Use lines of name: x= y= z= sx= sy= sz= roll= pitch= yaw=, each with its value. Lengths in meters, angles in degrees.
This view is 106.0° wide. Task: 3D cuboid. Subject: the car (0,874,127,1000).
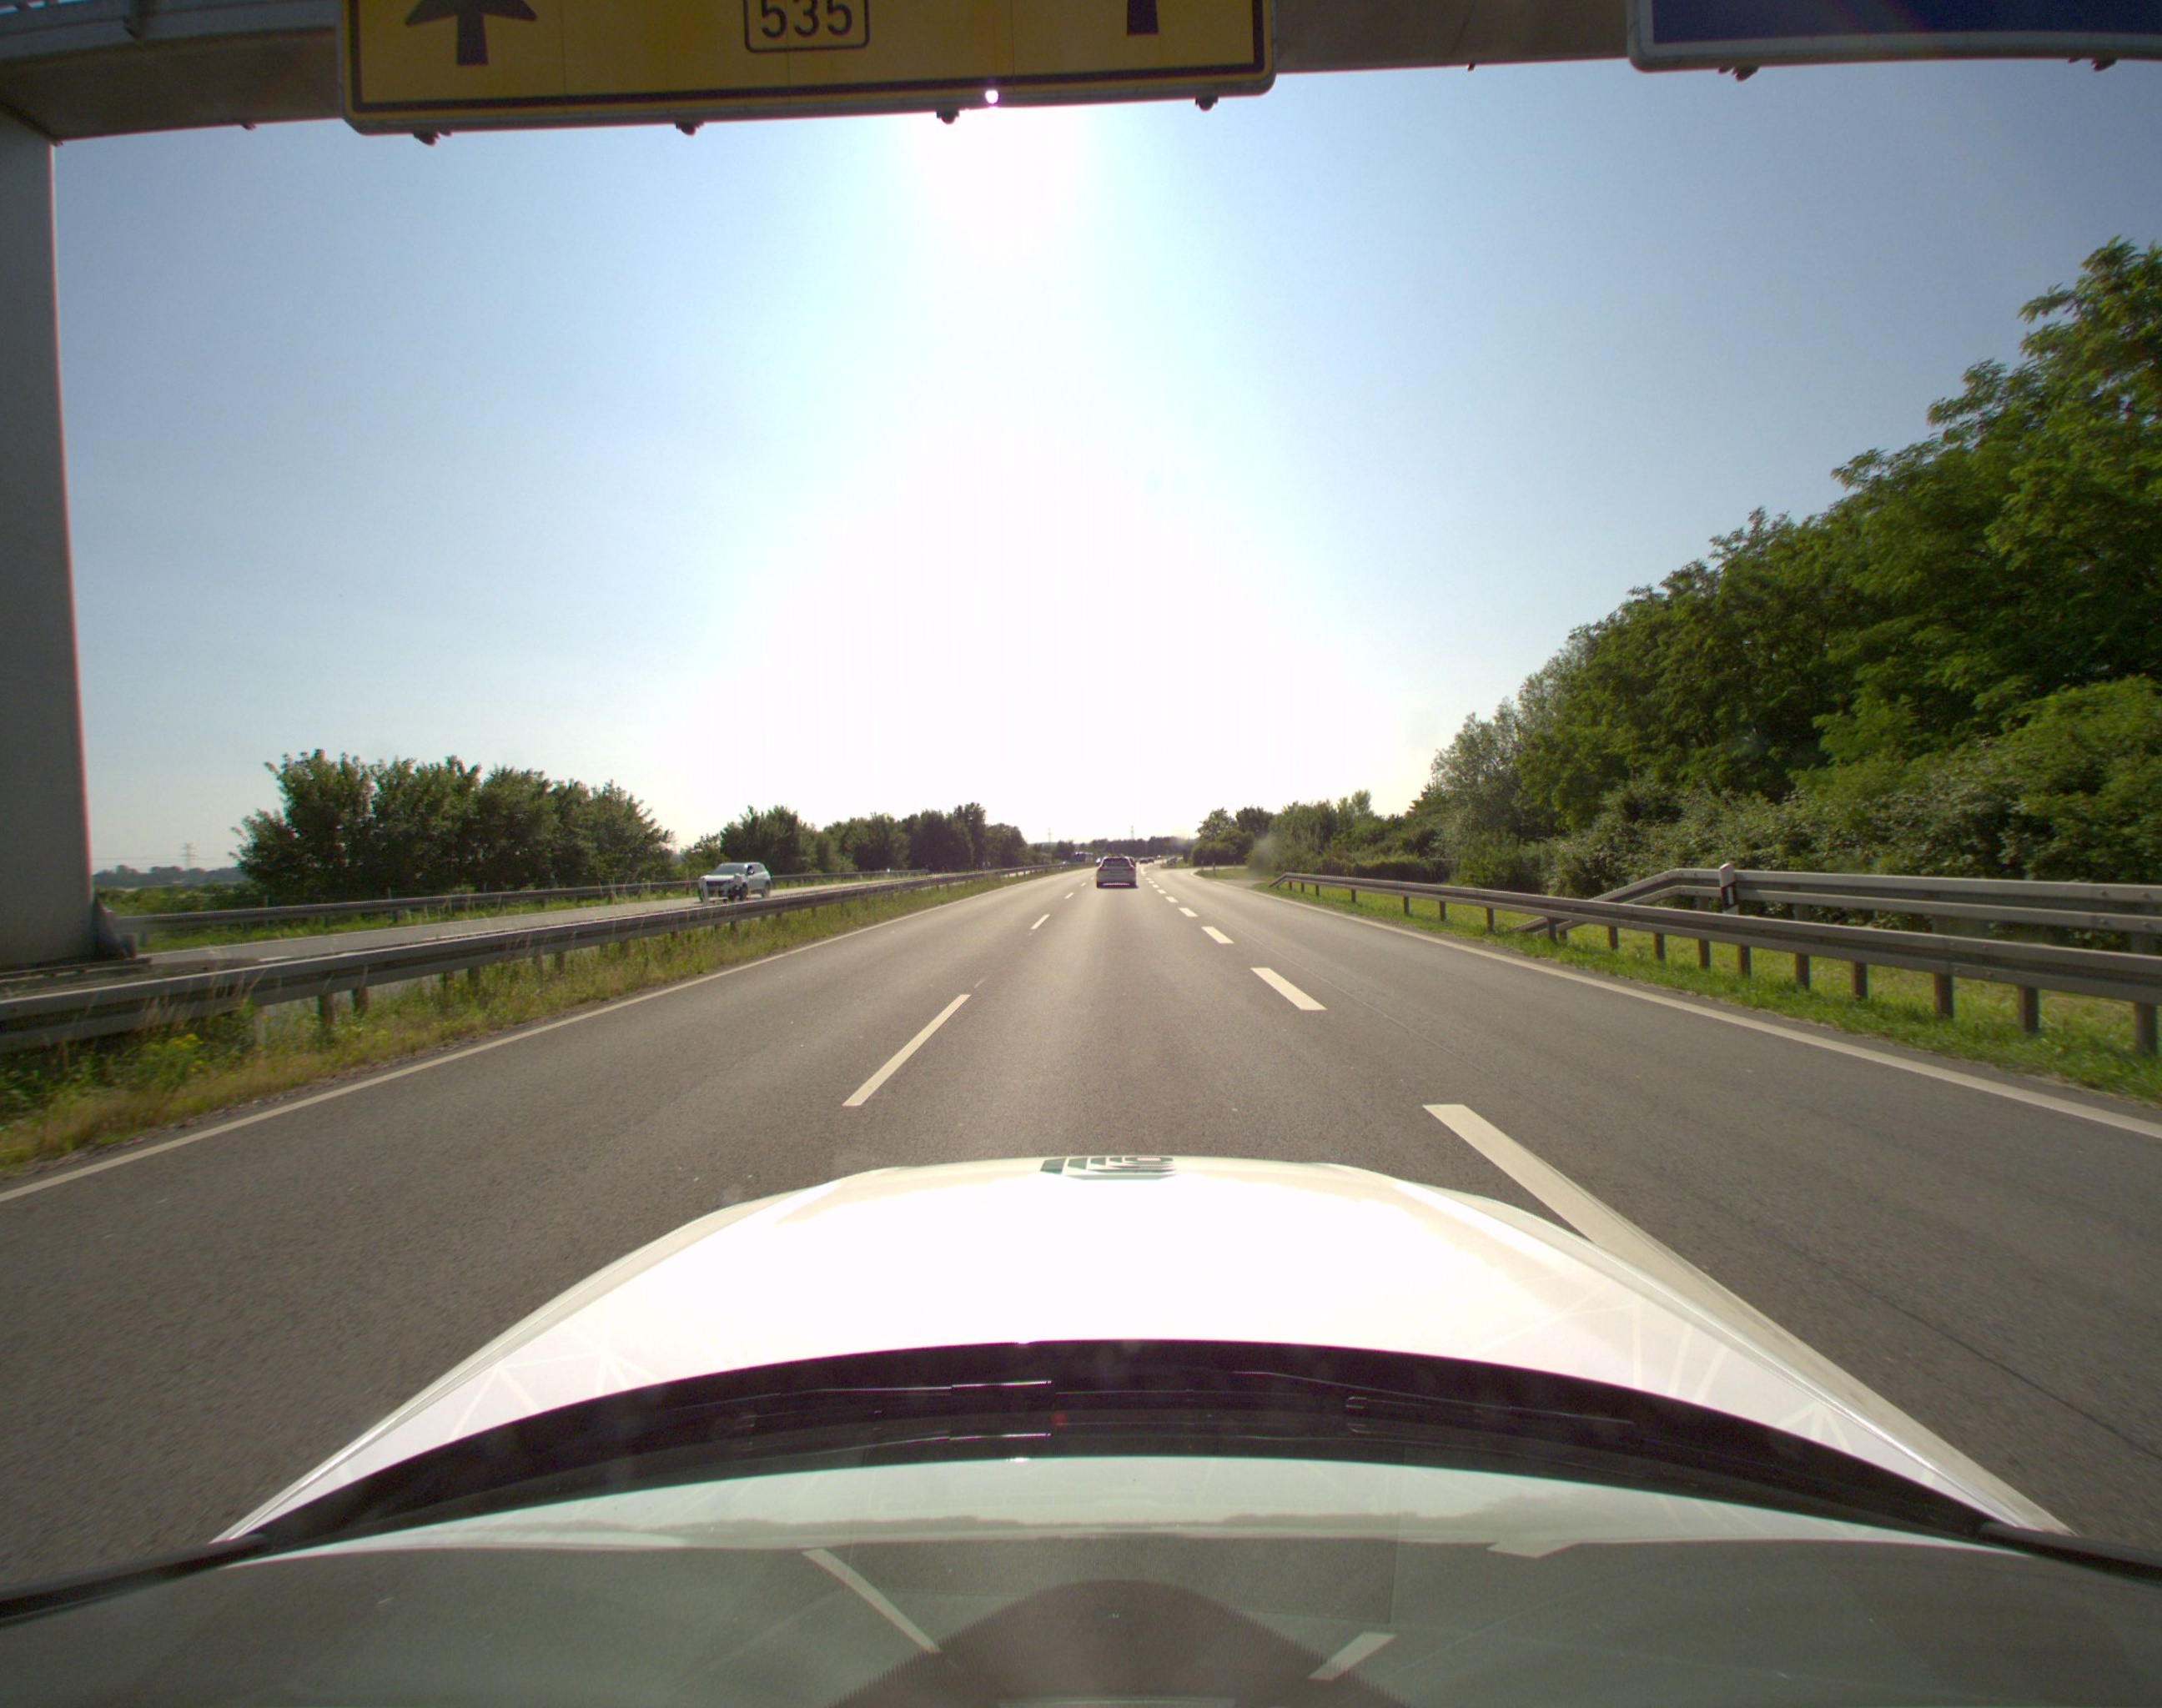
car: x=-15.163 y=1.148 z=10.174 sx=1.727 sy=1.617 sz=4.002 roll=-1 pitch=1 yaw=0

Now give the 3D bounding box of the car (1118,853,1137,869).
car: x=4.447 y=0.687 z=78.838 sx=1.786 sy=1.543 sz=3.674 roll=-1 pitch=0 yaw=2

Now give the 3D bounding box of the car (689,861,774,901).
car: x=-15.424 y=1.148 z=36.258 sx=1.896 sy=1.620 sz=4.626 roll=0 pitch=0 yaw=-2

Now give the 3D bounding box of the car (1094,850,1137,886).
car: x=1.606 y=0.634 z=39.314 sx=1.951 sy=1.601 sz=4.108 roll=0 pitch=1 yaw=1

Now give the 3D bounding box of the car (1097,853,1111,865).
car: x=3.094 y=0.641 z=109.187 sx=1.787 sy=1.503 sz=4.044 roll=-1 pitch=0 yaw=1

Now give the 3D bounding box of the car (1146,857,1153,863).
car: x=18.489 y=1.640 z=218.924 sx=1.833 sy=1.698 sz=4.004 roll=-1 pitch=0 yaw=4

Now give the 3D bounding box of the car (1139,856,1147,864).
car: x=14.638 y=1.478 z=192.117 sx=1.832 sy=1.802 sz=4.006 roll=-1 pitch=0 yaw=5
